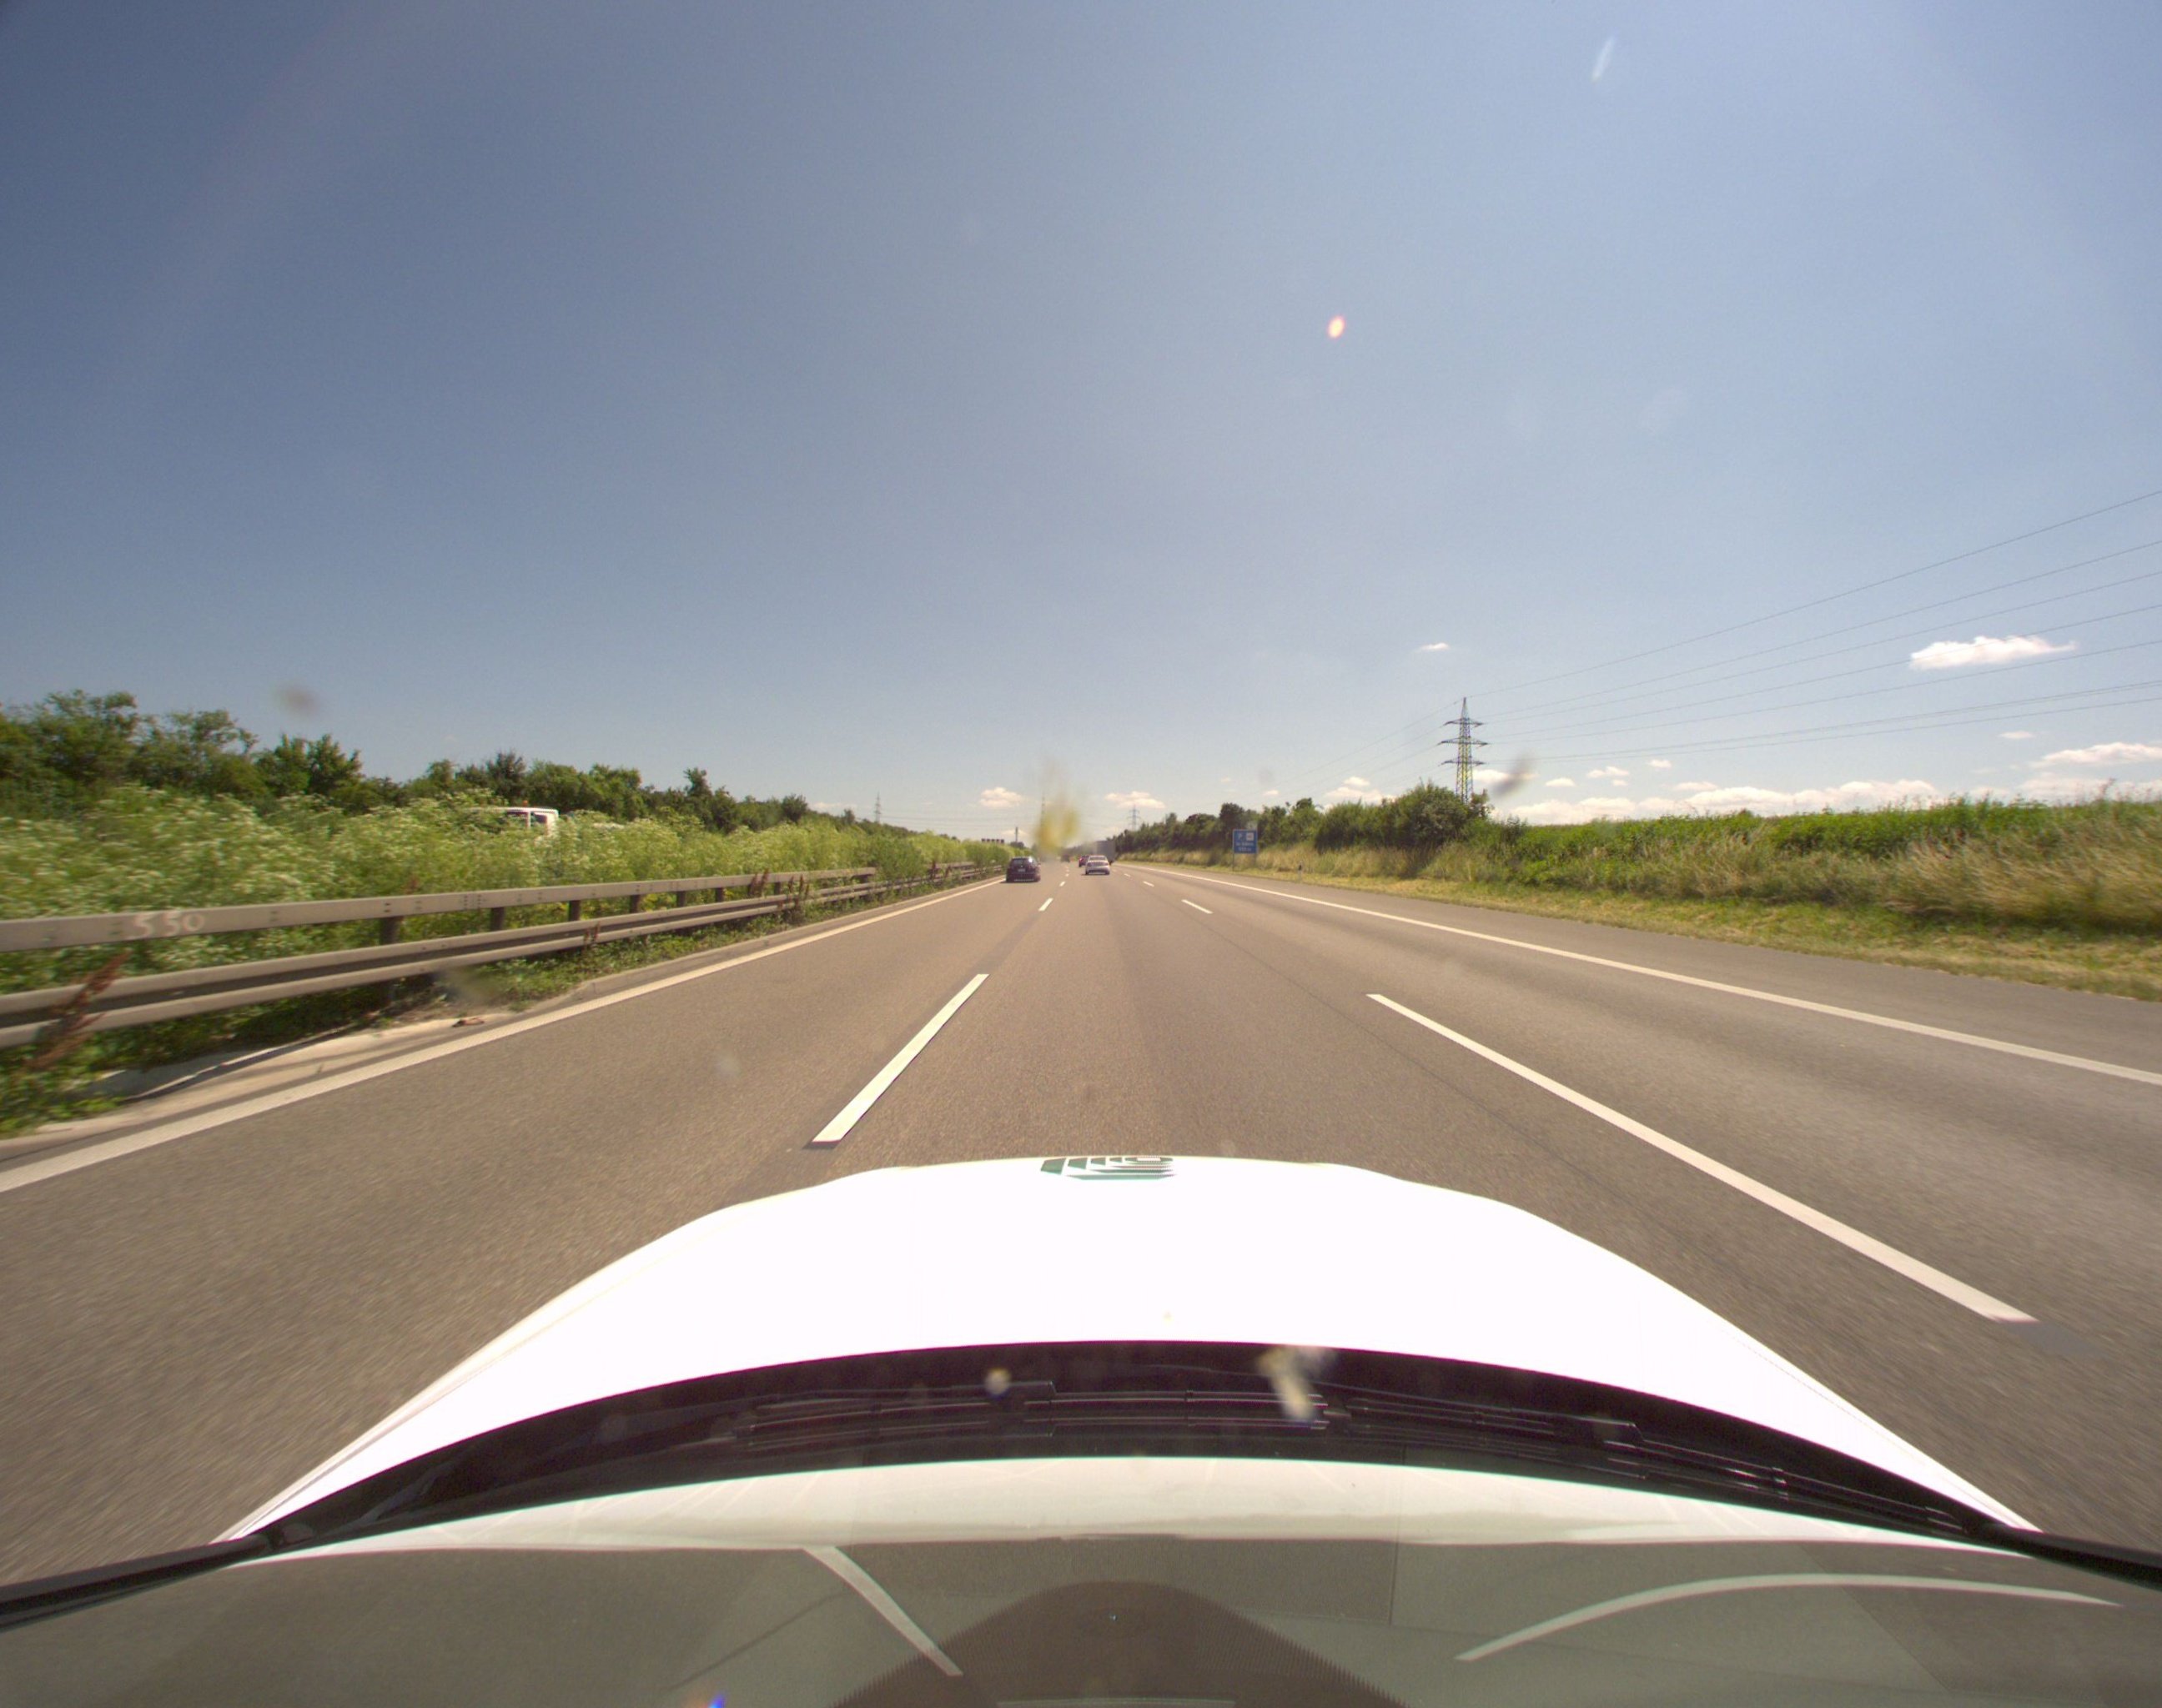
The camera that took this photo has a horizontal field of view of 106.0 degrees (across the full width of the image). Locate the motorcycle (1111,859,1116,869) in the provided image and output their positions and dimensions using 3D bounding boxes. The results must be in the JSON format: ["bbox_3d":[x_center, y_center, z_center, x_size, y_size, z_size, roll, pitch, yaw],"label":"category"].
[{"bbox_3d":[5.277,1.552,132.680,0.807,1.607,1.781,0,-1,-1],"label":"motorcycle"}]

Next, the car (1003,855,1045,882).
[{"bbox_3d":[-3.201,0.808,46.362,1.748,1.429,4.005,-1,0,5],"label":"car"}]

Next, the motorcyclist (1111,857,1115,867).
[{"bbox_3d":[5.268,1.313,132.551,0.570,1.479,0.700,-1,0,-1],"label":"motorcyclist"}]

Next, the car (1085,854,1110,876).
[{"bbox_3d":[1.231,0.784,61.070,1.813,1.541,3.915,-1,0,1],"label":"car"}]

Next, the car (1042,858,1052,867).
[{"bbox_3d":[-7.236,1.908,175.026,1.987,1.860,3.999,-1,0,0],"label":"car"}]

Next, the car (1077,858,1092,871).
[{"bbox_3d":[0.442,1.249,99.470,1.832,1.541,3.915,-1,0,1],"label":"car"}]

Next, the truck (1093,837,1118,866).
[{"bbox_3d":[3.545,-0.284,117.868,3.212,3.924,9.056,0,-1,-1],"label":"truck"}]

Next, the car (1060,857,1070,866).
[{"bbox_3d":[-3.342,1.524,171.548,1.897,1.926,3.997,-1,0,-2],"label":"car"}]

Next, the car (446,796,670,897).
[{"bbox_3d":[-19.774,-0.250,31.713,2.783,3.352,8.800,-1,0,2],"label":"car"}]
